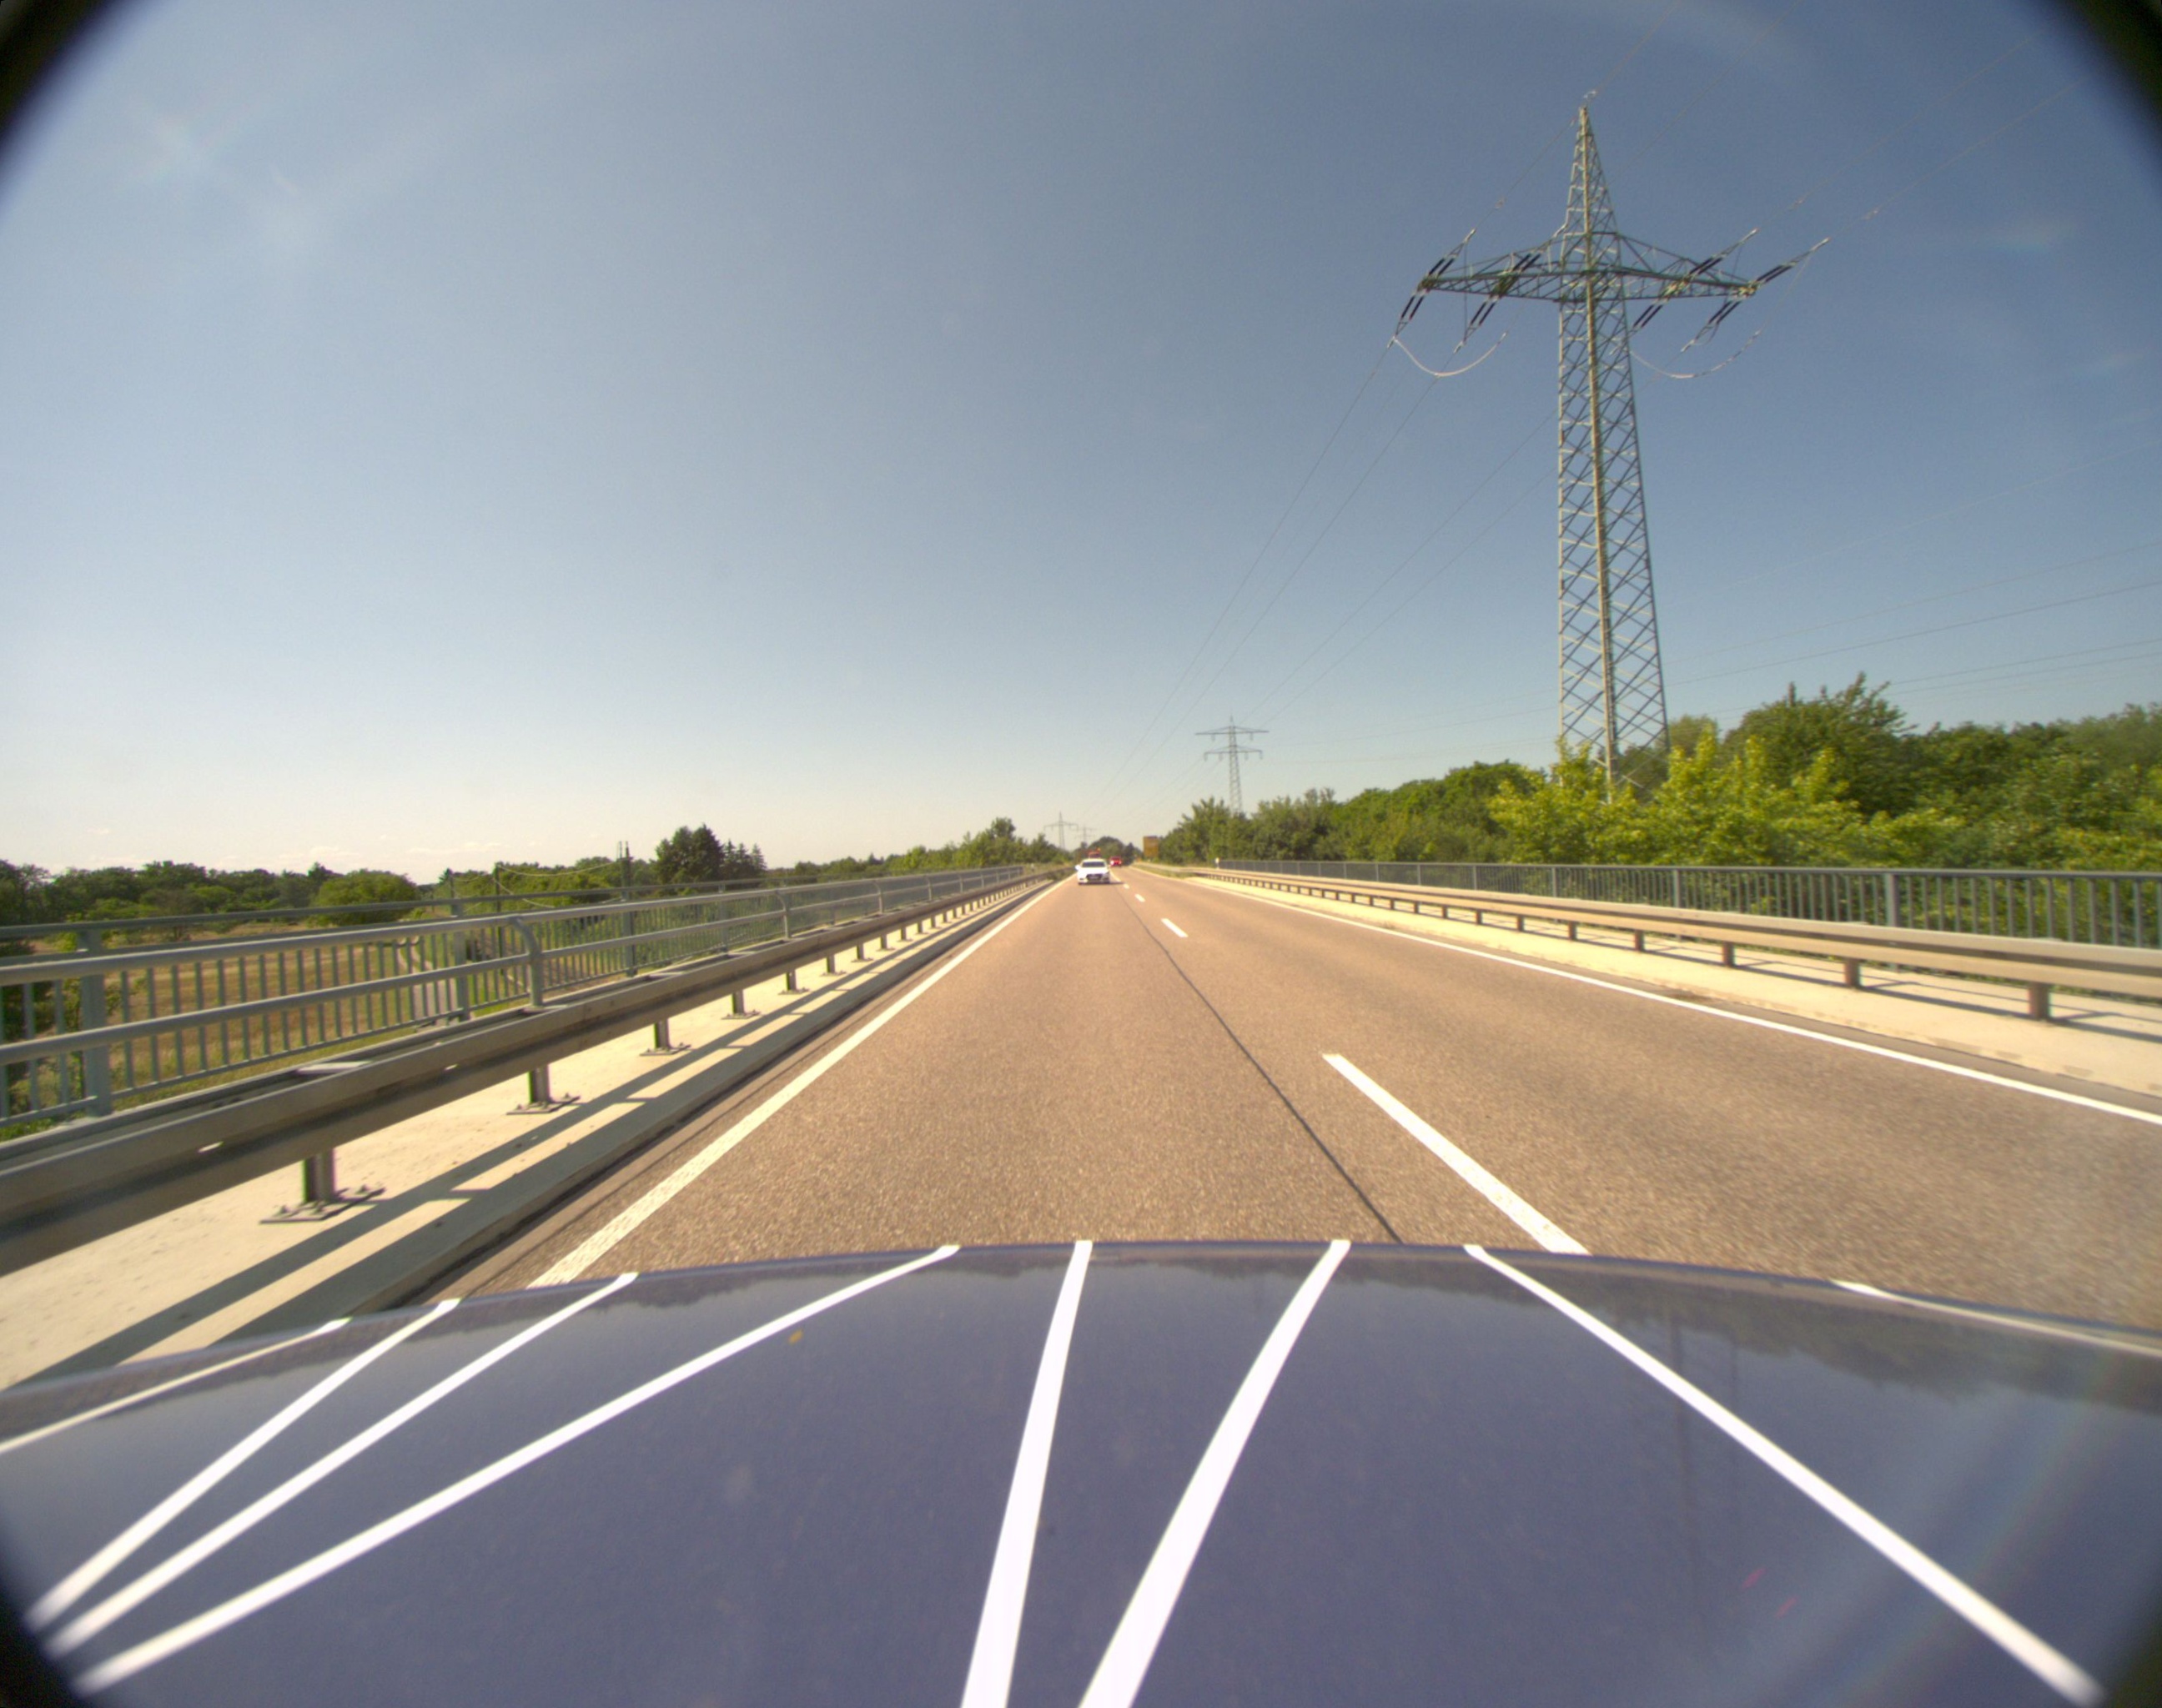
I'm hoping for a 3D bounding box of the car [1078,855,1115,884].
[{"bbox_3d":[0.861,0.863,43.463,1.923,1.496,4.794,-2,0,0],"label":"car"}]

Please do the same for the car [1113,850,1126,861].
[{"bbox_3d":[6.906,0.237,136.596,2.126,1.934,5.020,-2,0,3],"label":"car"}]

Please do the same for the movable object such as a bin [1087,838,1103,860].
[{"bbox_3d":[2.573,-0.783,139.693,2.760,3.816,9.446,-2,0,2],"label":"movable object such as a bin"}]
